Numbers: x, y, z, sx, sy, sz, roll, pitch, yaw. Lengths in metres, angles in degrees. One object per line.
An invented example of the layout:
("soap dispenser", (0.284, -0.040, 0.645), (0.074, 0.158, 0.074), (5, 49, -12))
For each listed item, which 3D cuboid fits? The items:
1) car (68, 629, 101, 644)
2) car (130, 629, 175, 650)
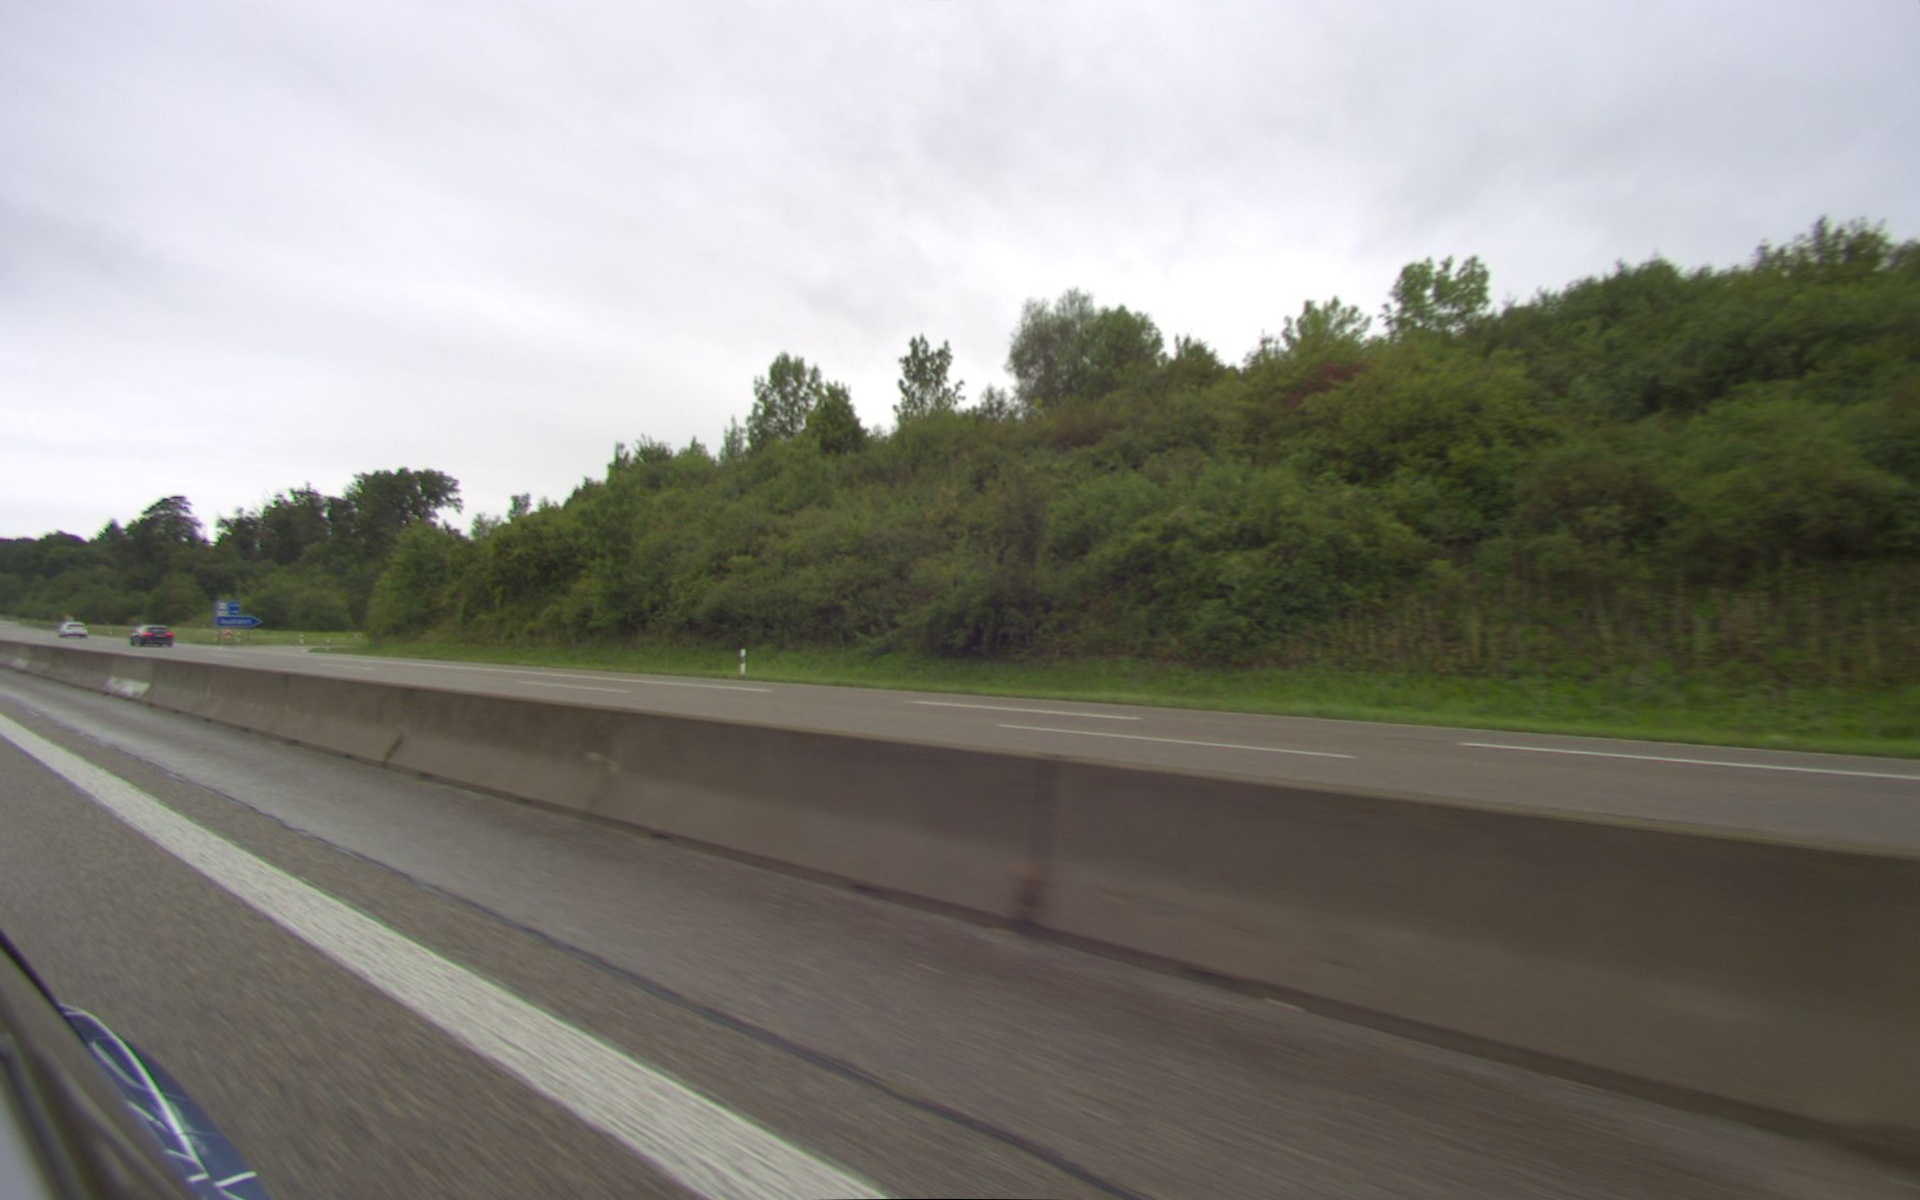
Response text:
("car", (-85.218, 3.545, 98.460), (4.627, 1.461, 1.779), (-1, -3, 41))
("car", (-55.909, 2.688, 70.032), (4.468, 1.395, 1.779), (-1, -3, 43))
